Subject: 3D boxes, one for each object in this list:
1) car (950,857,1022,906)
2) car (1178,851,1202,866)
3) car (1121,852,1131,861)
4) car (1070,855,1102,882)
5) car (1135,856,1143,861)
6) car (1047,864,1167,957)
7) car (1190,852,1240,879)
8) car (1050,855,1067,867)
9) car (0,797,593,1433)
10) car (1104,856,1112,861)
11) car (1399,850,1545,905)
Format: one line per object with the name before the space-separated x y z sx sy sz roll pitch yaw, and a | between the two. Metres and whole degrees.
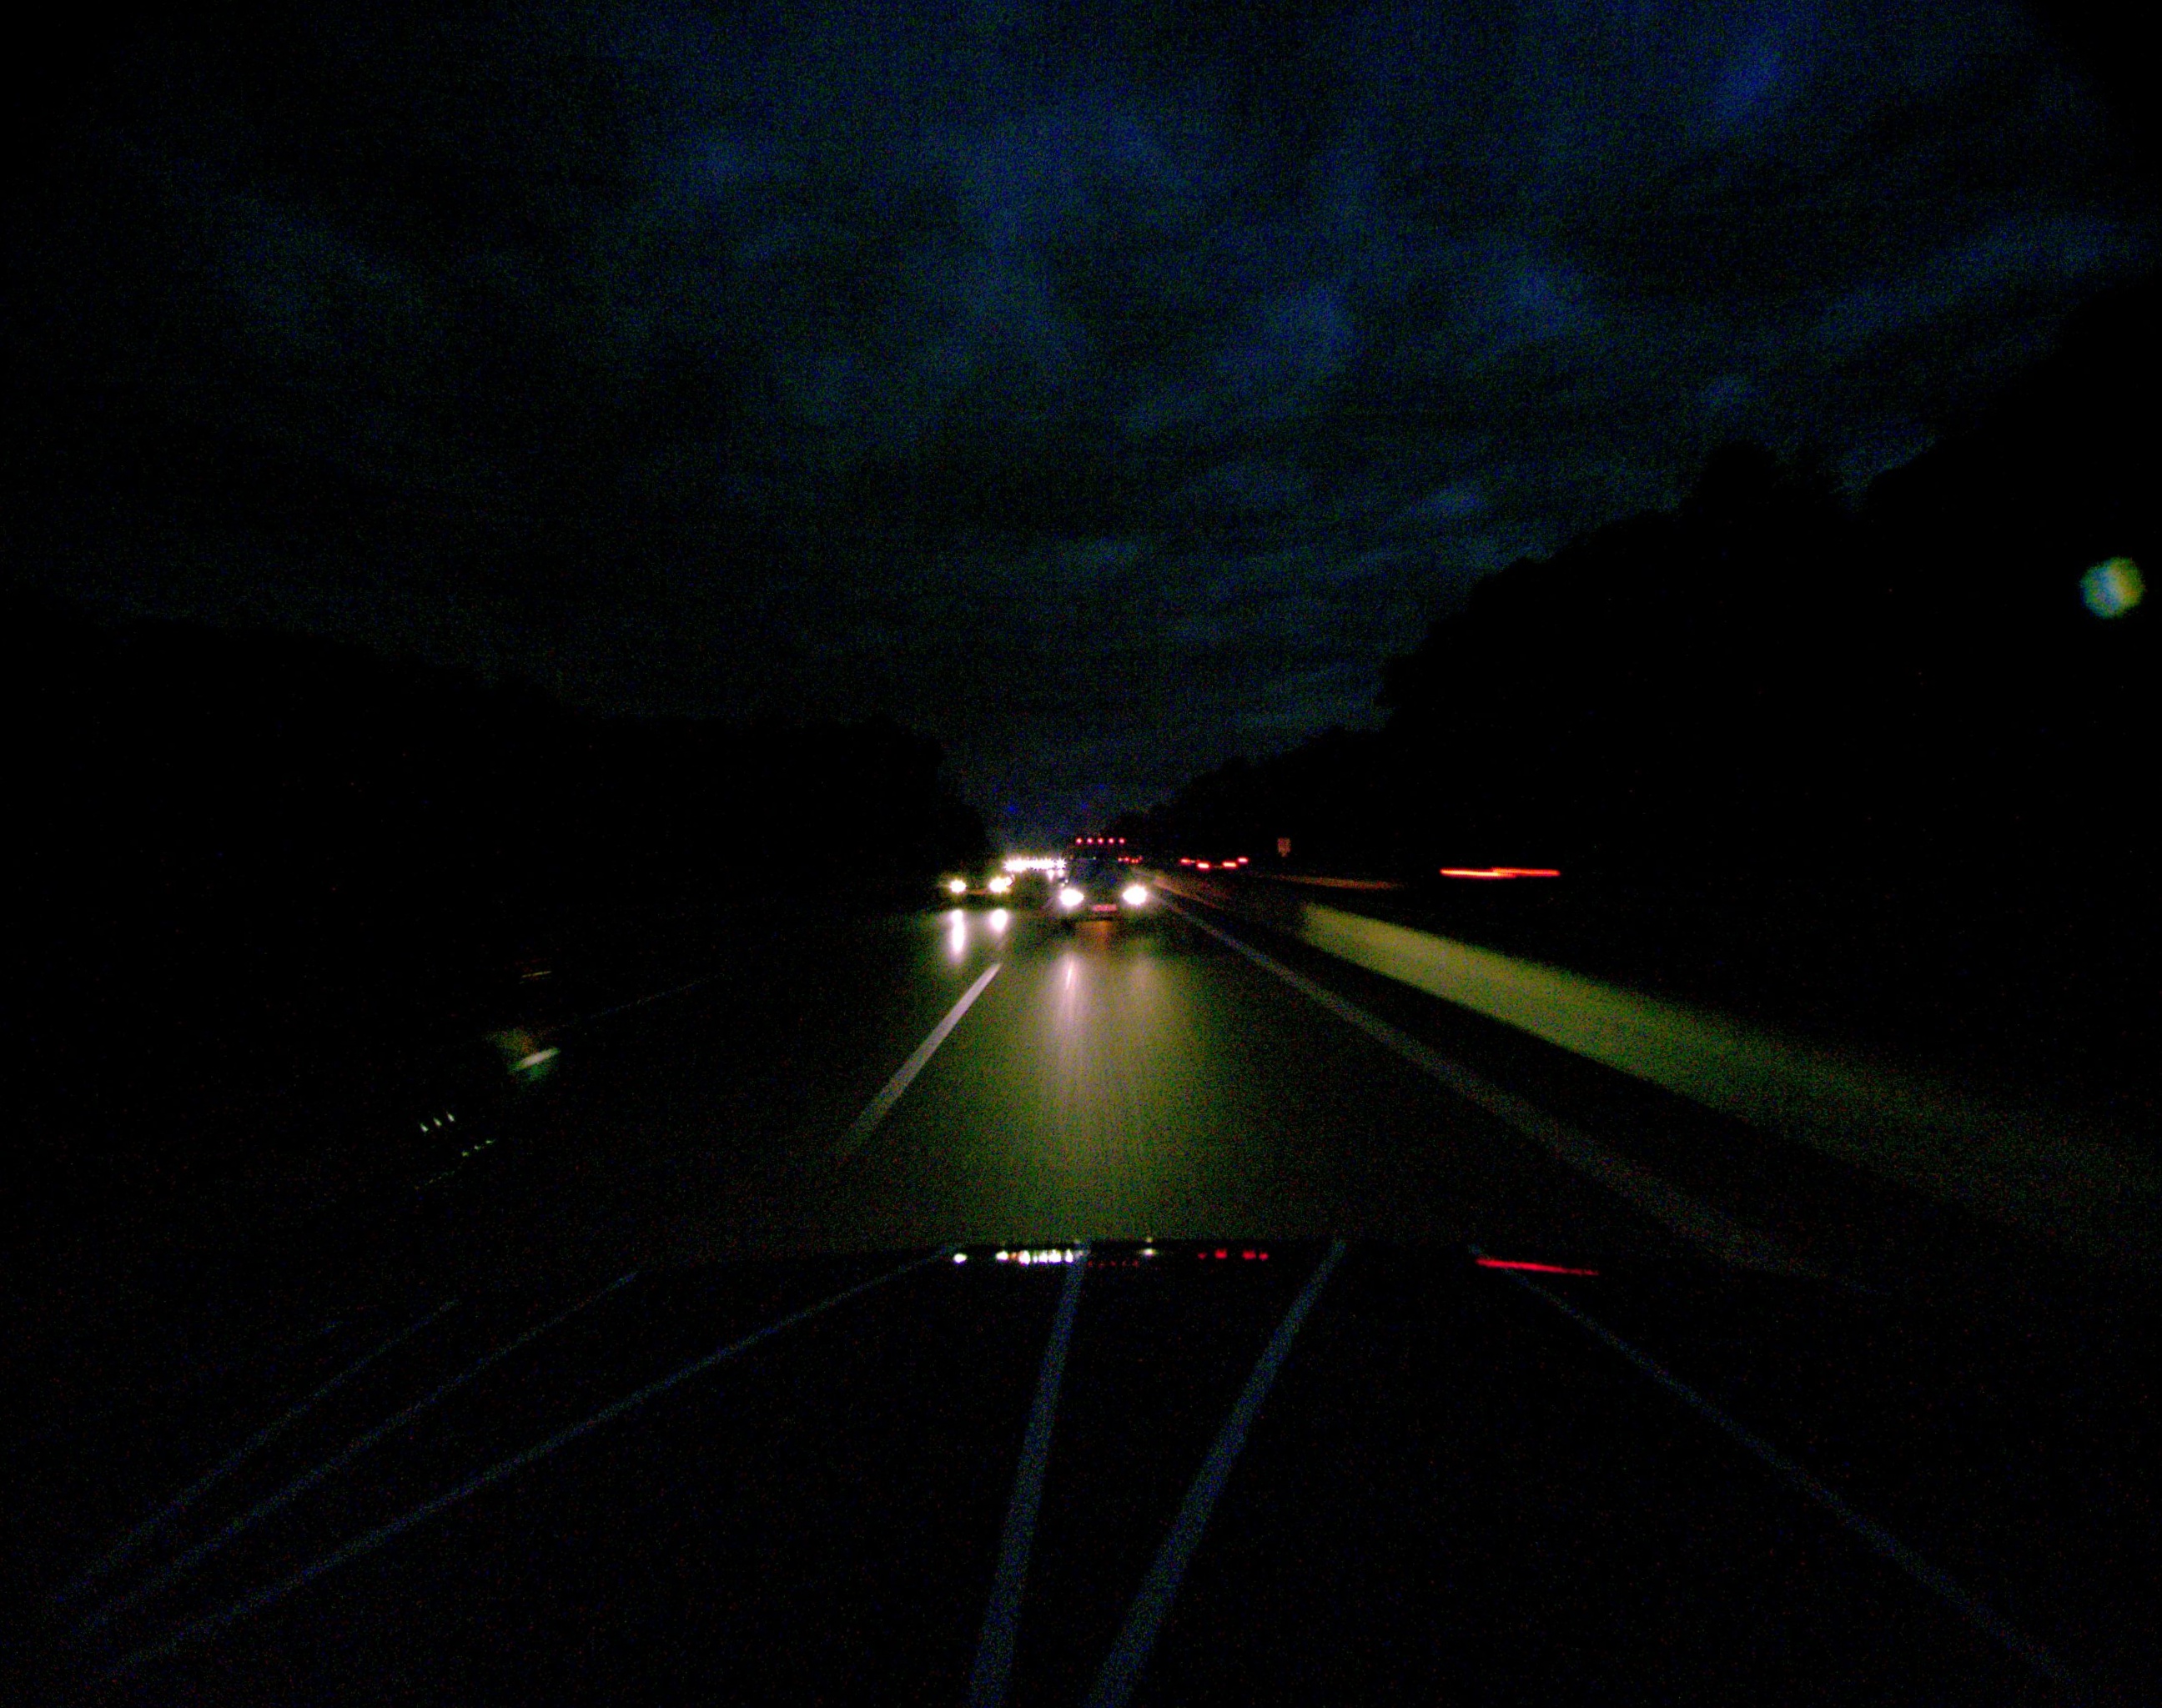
car | -3.383 0.944 28.070 1.914 1.528 5.230 -1 1 1
car | 11.479 0.451 80.346 1.759 1.420 5.363 -2 0 0
car | 9.366 0.504 158.499 1.998 1.629 5.112 -2 0 2
car | 0.352 0.843 46.787 1.813 1.458 5.131 -2 1 2
car | 17.984 1.508 235.587 1.847 1.454 3.999 -3 -1 -2
car | 0.477 0.931 14.280 1.879 1.435 4.452 -1 -1 2
car | 7.585 0.613 43.354 1.998 1.393 4.687 -2 0 0
car | -3.119 0.967 103.357 1.999 1.539 3.999 -1 -2 -5
car | -3.794 0.771 1.728 1.908 1.634 5.049 -6 3 0
car | 9.089 1.439 255.676 1.848 1.454 4.773 -3 -1 -7
car | 11.378 0.609 22.565 1.781 1.393 4.939 -2 0 0
